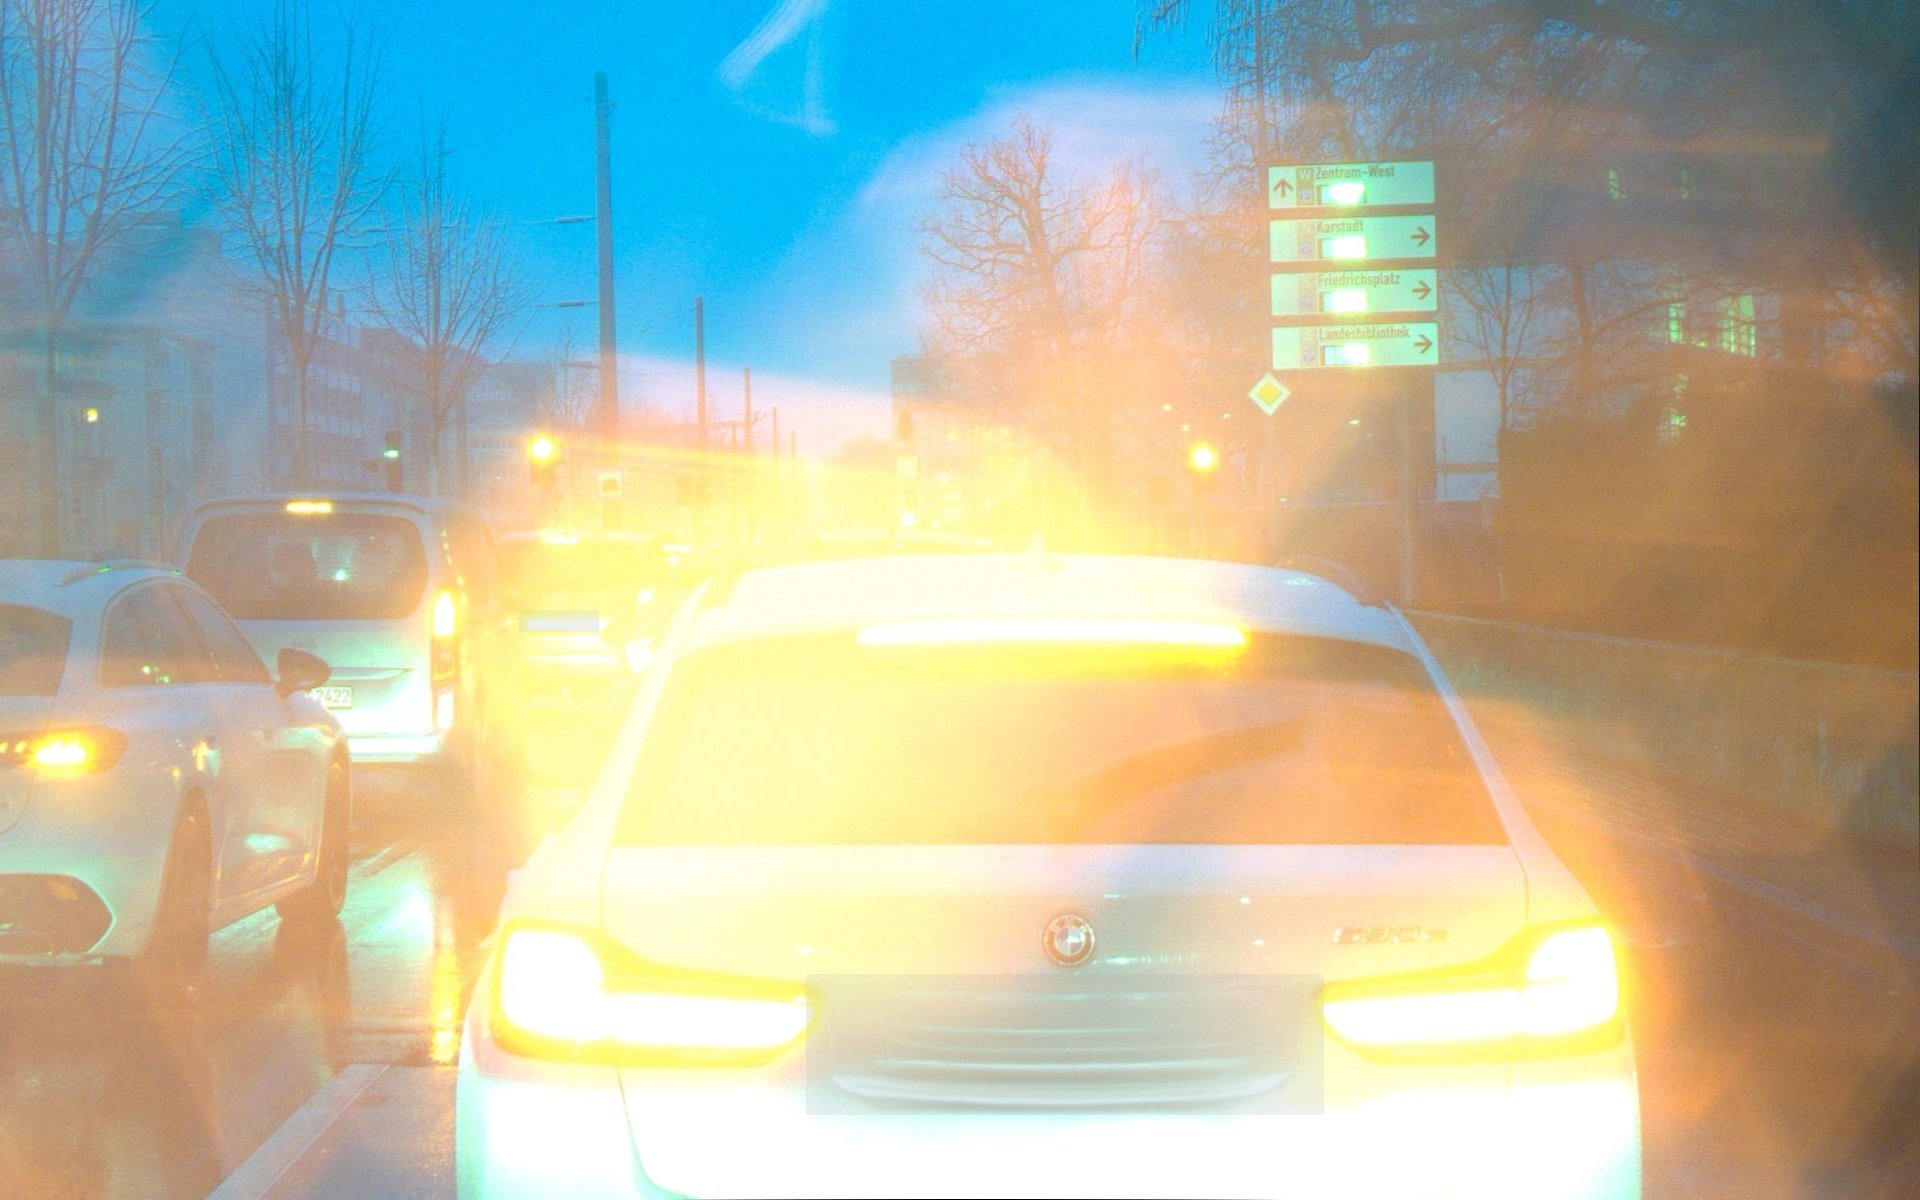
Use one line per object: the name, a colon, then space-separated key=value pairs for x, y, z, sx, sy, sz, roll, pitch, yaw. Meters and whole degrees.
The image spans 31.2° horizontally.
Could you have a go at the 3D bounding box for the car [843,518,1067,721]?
car: x=-0.059 y=0.115 z=29.744 sx=1.806 sy=1.640 sz=4.000 roll=0 pitch=1 yaw=0

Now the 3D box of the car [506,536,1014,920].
car: x=-0.786 y=0.452 z=15.240 sx=1.936 sy=1.452 sz=4.164 roll=0 pitch=1 yaw=-1

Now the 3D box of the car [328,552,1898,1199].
car: x=0.177 y=0.678 z=6.468 sx=1.999 sy=1.503 sz=4.164 roll=0 pitch=1 yaw=-1

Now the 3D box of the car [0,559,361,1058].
car: x=-3.357 y=0.562 z=12.013 sx=1.846 sy=1.400 sz=4.614 roll=0 pitch=1 yaw=-2

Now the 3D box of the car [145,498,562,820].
car: x=-3.533 y=0.291 z=20.807 sx=1.793 sy=1.730 sz=4.537 roll=0 pitch=1 yaw=-1

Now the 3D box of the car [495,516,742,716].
car: x=-2.934 y=0.090 z=30.266 sx=1.806 sy=1.640 sz=4.000 roll=0 pitch=1 yaw=0
